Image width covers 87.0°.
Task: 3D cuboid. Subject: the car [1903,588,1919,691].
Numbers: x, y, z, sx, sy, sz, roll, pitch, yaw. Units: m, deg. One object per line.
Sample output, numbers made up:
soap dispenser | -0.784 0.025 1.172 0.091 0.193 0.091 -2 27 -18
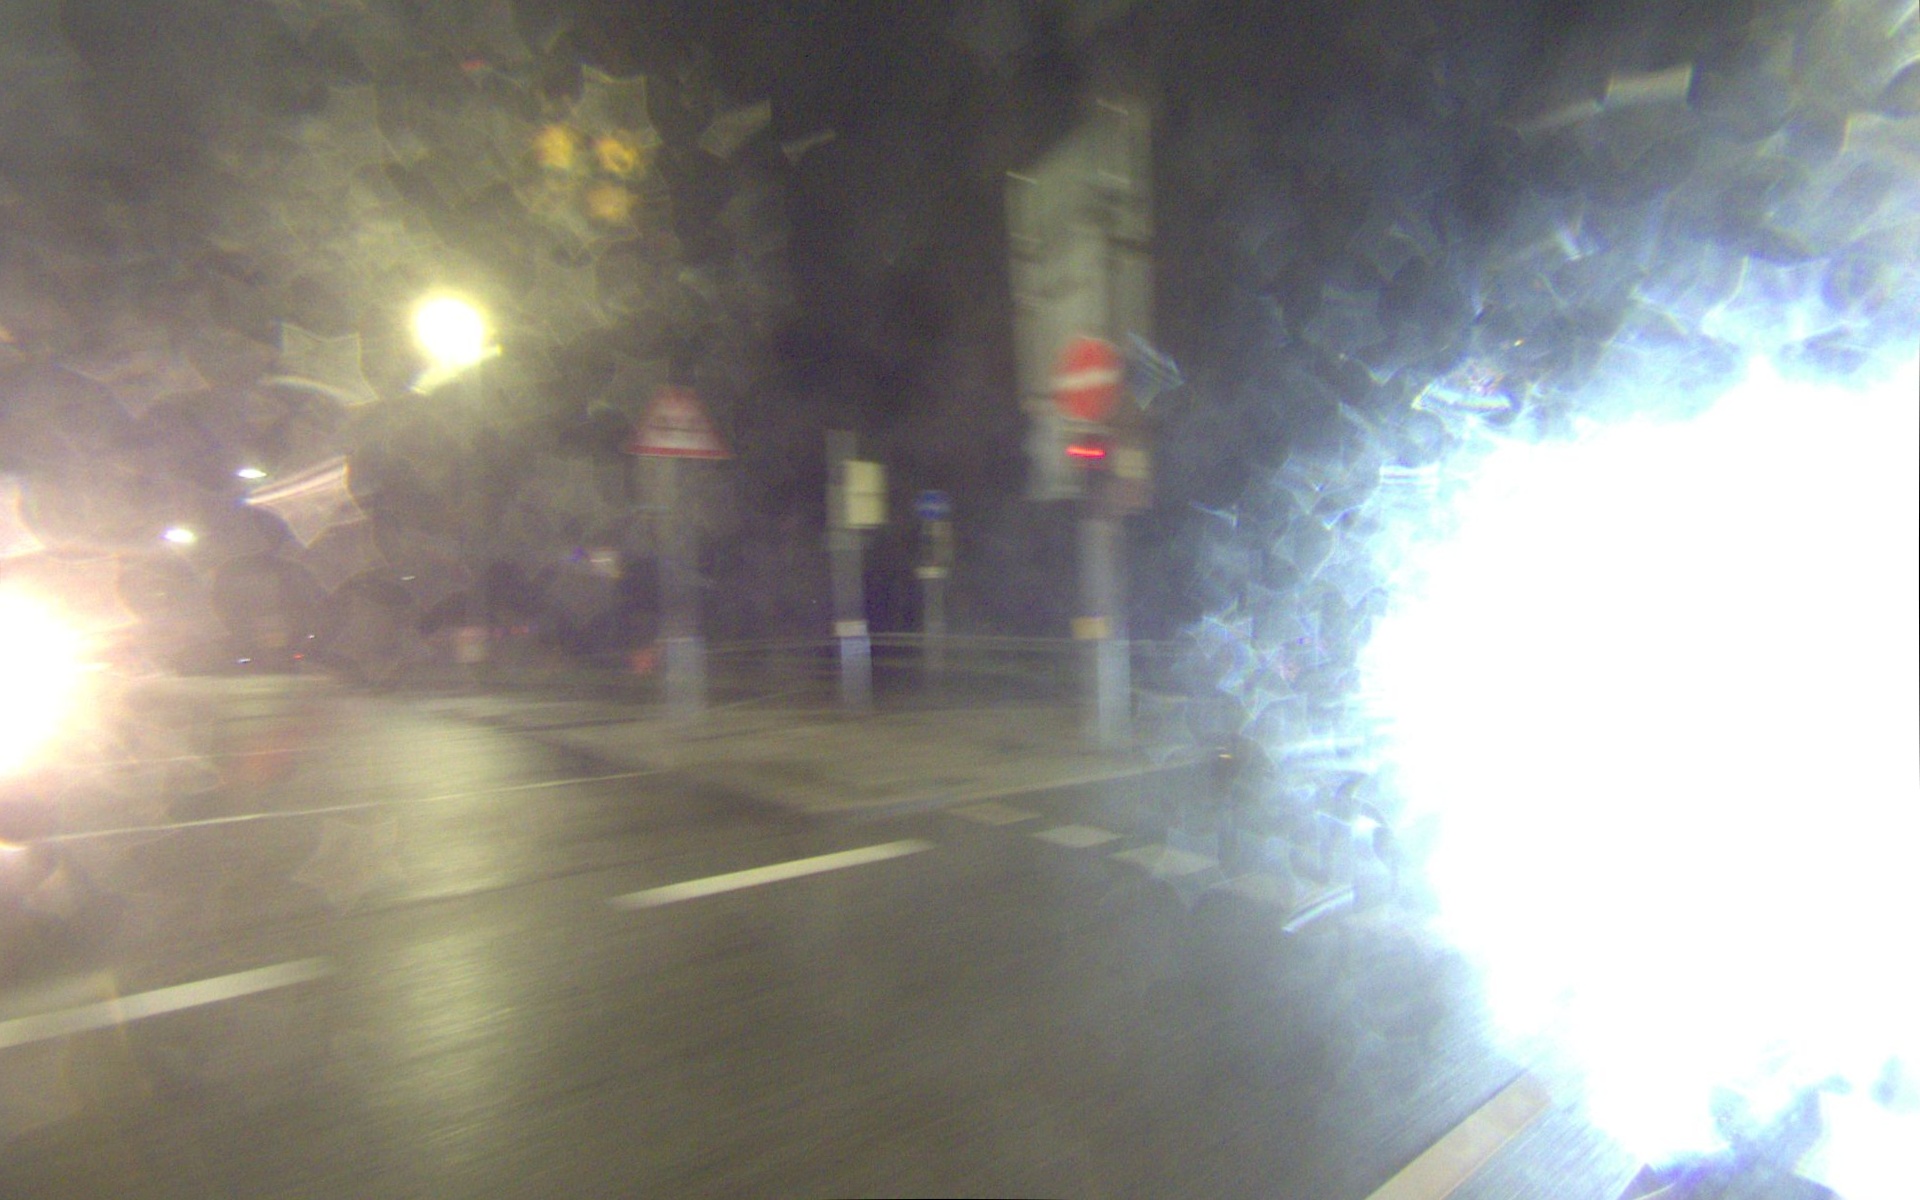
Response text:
car | 16.614 0.540 15.902 4.330 1.541 1.712 -2 0 -35

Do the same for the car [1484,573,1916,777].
car | 7.022 0.572 9.483 4.469 1.526 1.679 0 -1 -31

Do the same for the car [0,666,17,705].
car | -39.299 3.420 40.568 1.714 1.363 3.909 1 -1 -36
